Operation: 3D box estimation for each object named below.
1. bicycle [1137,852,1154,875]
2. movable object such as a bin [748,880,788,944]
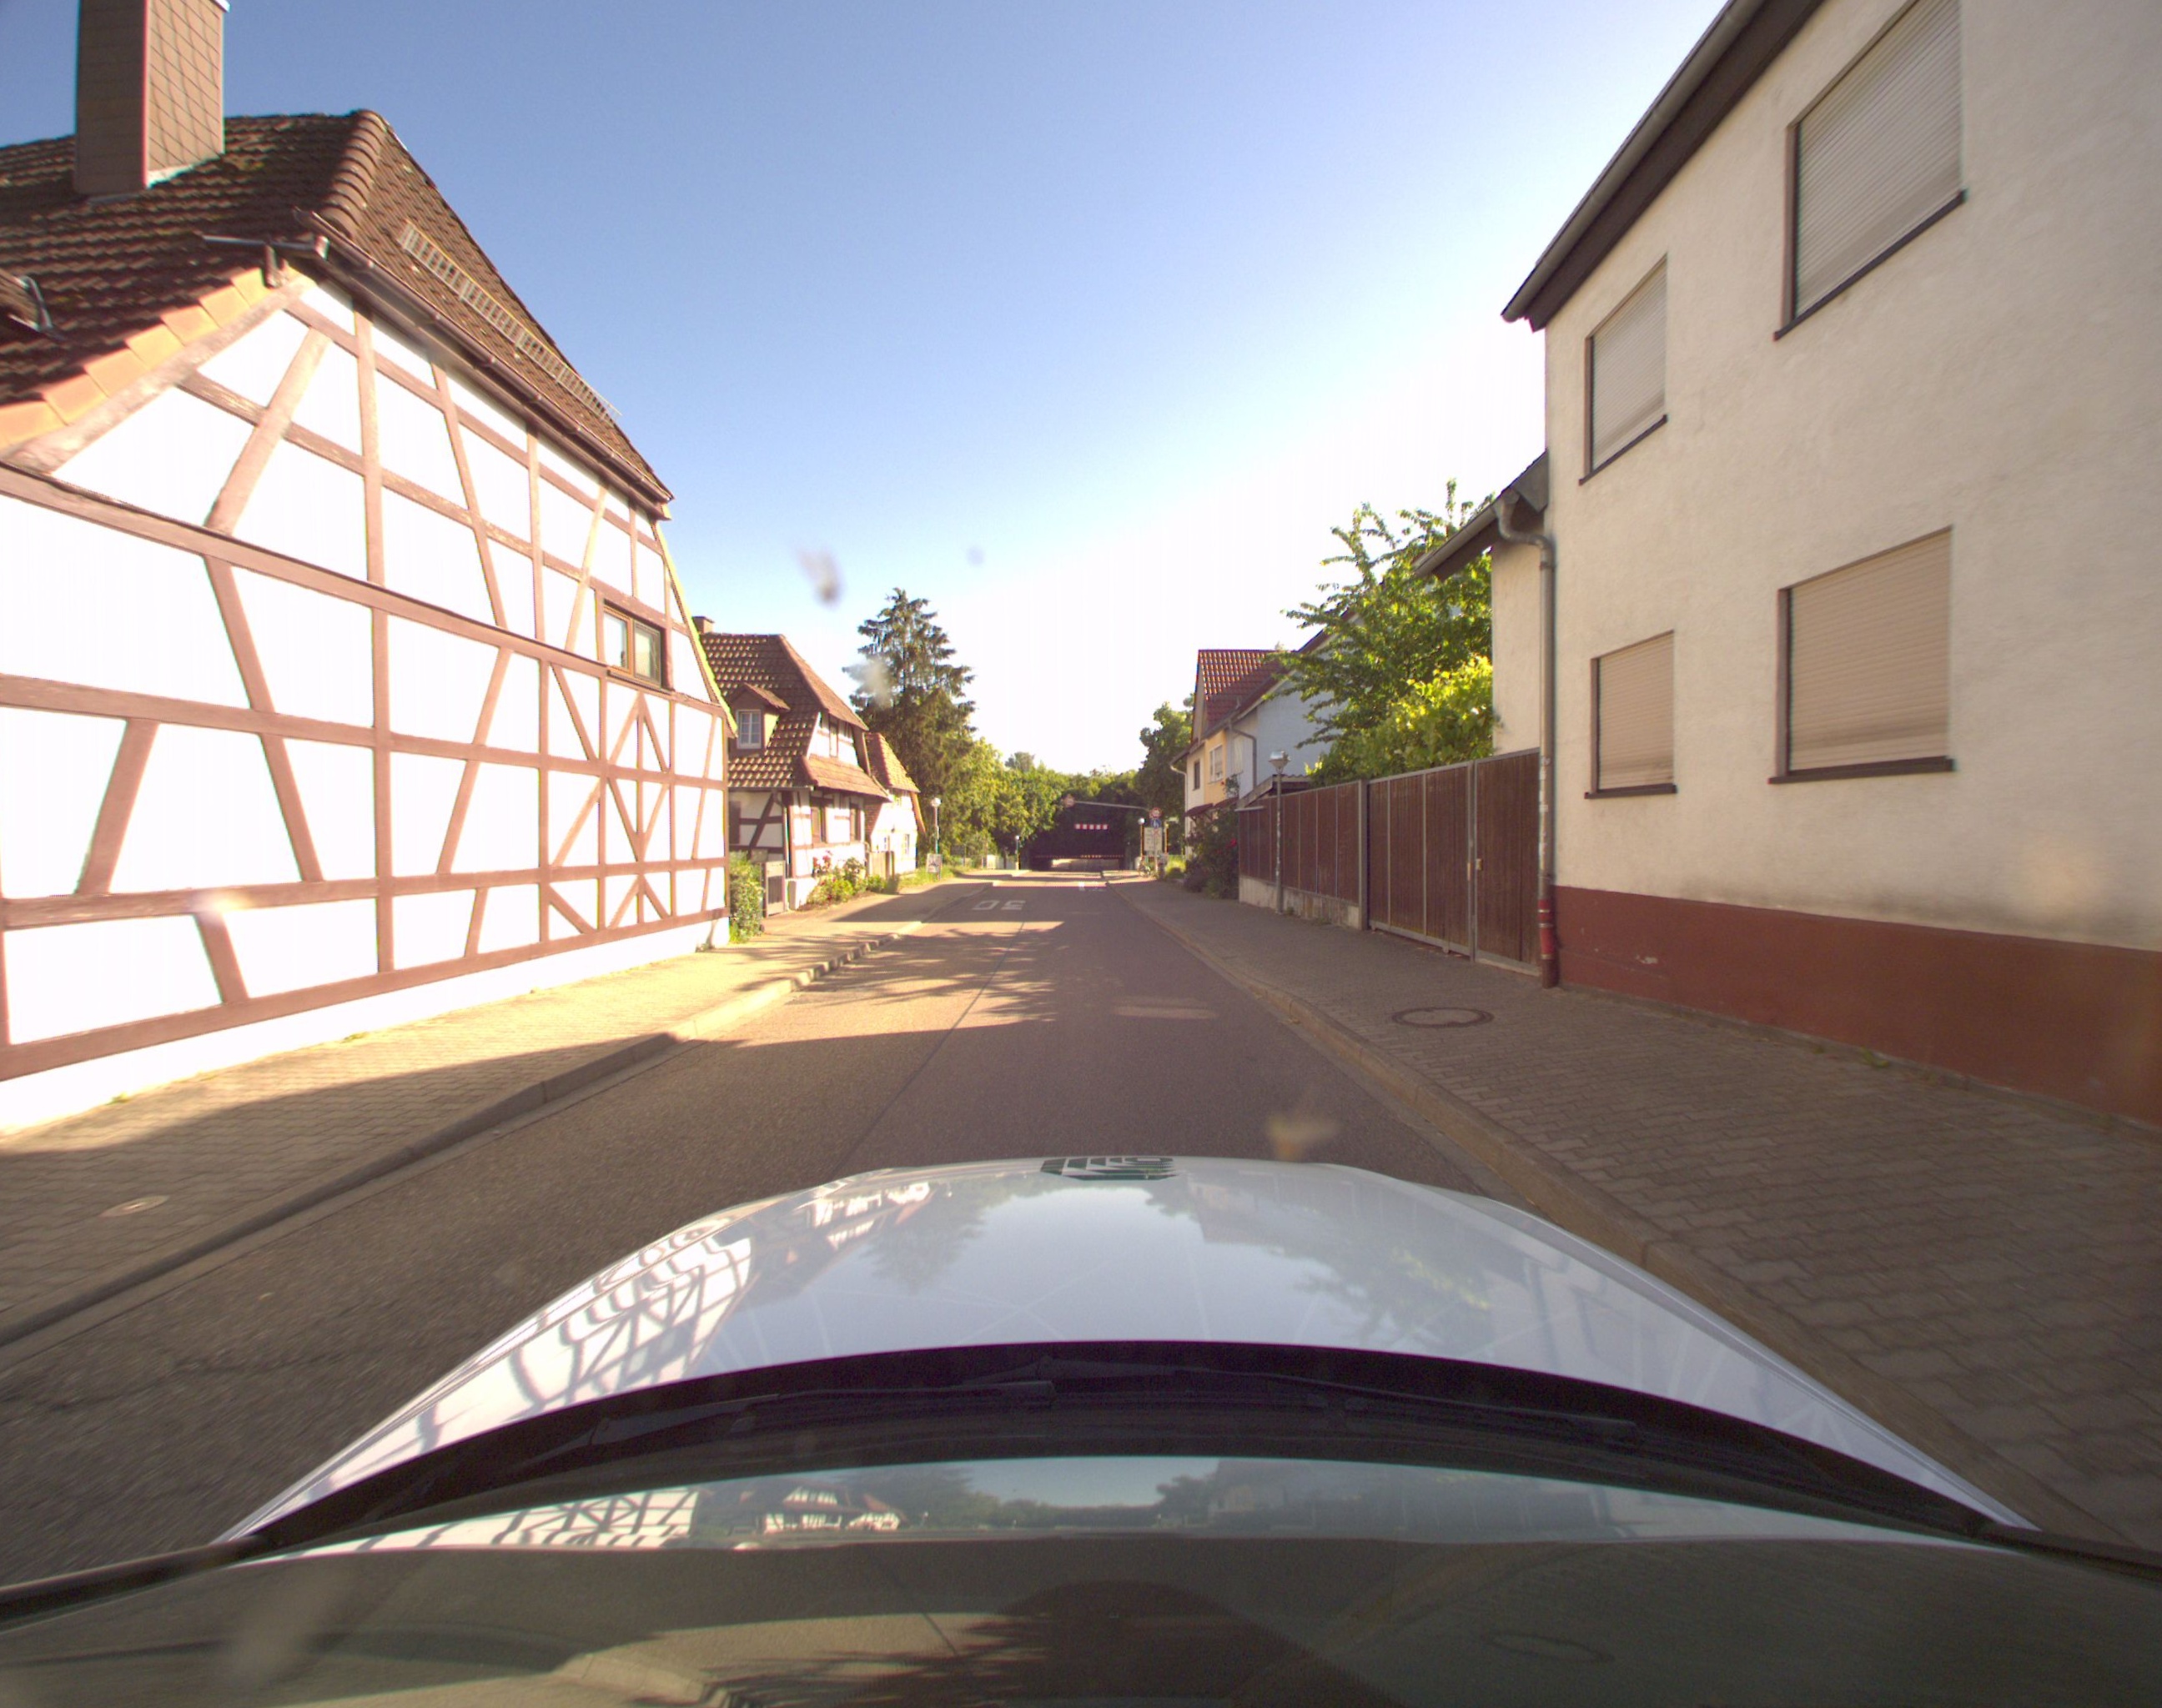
[{"bbox_3d":[3.504,0.509,44.572,0.687,1.157,1.539,-6,1,-1],"label":"bicycle"},{"bbox_3d":[-5.961,1.091,15.537,0.475,1.140,0.667,-2,0,-1],"label":"movable object such as a bin"}]
